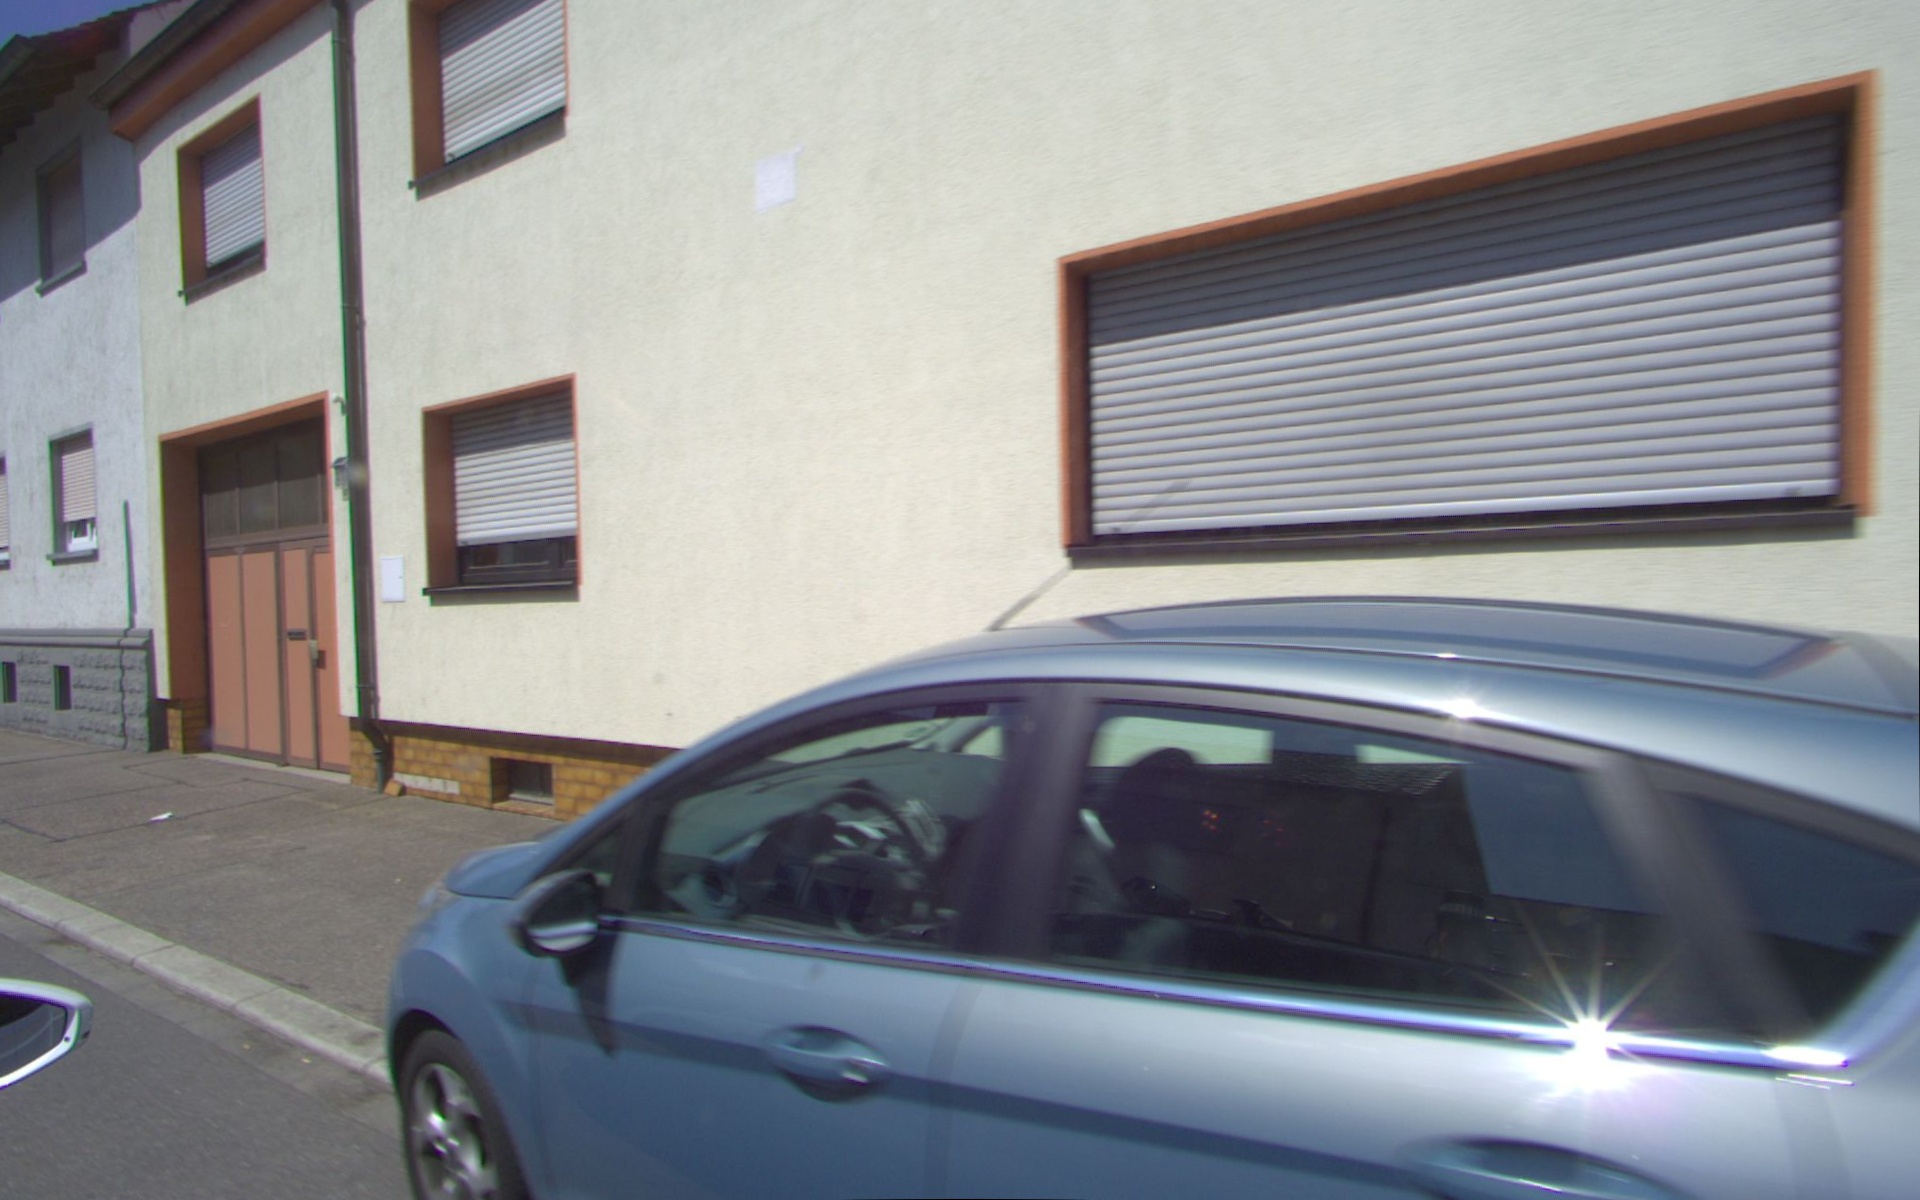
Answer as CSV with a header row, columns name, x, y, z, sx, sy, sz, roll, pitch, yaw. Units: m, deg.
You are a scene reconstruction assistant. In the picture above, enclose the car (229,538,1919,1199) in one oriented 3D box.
name,x,y,z,sx,sy,sz,roll,pitch,yaw
car,0.059,0.708,2.311,3.701,1.502,1.714,-1,4,37
